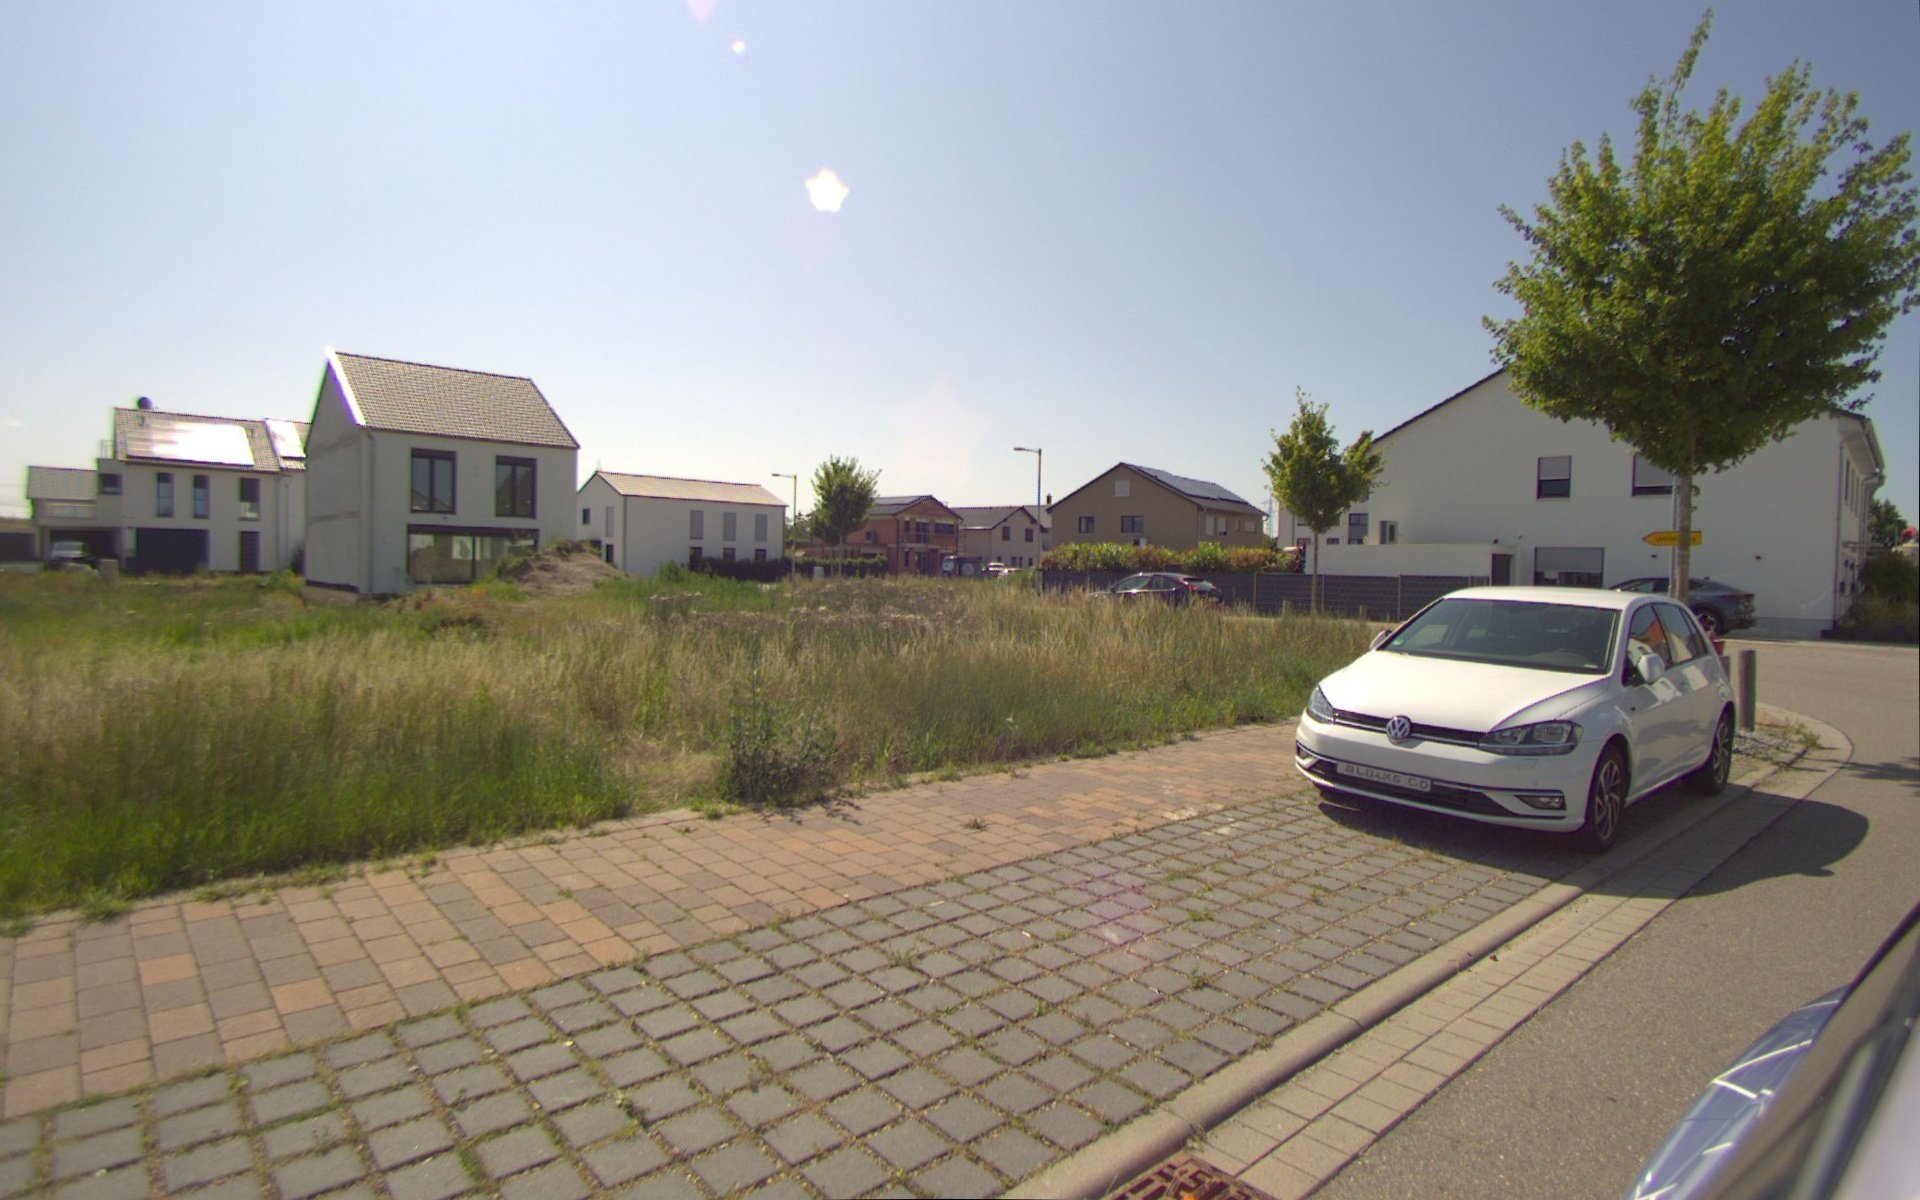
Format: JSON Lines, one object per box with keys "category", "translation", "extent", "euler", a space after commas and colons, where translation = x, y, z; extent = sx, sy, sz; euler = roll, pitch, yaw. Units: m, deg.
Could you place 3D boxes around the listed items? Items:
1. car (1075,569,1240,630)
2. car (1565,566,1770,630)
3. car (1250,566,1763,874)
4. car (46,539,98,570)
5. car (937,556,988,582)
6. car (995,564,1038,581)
{"category": "car", "translation": [5.404, -0.082, 28.042], "extent": [4.178, 1.512, 1.822], "euler": [2, 3, 42]}
{"category": "car", "translation": [19.422, -0.116, 27.915], "extent": [1.928, 1.577, 4.341], "euler": [0, 2, -43]}
{"category": "car", "translation": [3.939, 0.565, 6.981], "extent": [4.094, 1.437, 1.779], "euler": [0, 4, -42]}
{"category": "car", "translation": [-46.038, -2.356, 52.538], "extent": [1.782, 1.530, 3.998], "euler": [0, 2, -38]}
{"category": "car", "translation": [0.237, -2.467, 80.592], "extent": [1.991, 2.038, 3.944], "euler": [3, 3, 39]}
{"category": "car", "translation": [4.818, -2.316, 85.993], "extent": [1.660, 1.417, 3.865], "euler": [3, 3, 39]}
